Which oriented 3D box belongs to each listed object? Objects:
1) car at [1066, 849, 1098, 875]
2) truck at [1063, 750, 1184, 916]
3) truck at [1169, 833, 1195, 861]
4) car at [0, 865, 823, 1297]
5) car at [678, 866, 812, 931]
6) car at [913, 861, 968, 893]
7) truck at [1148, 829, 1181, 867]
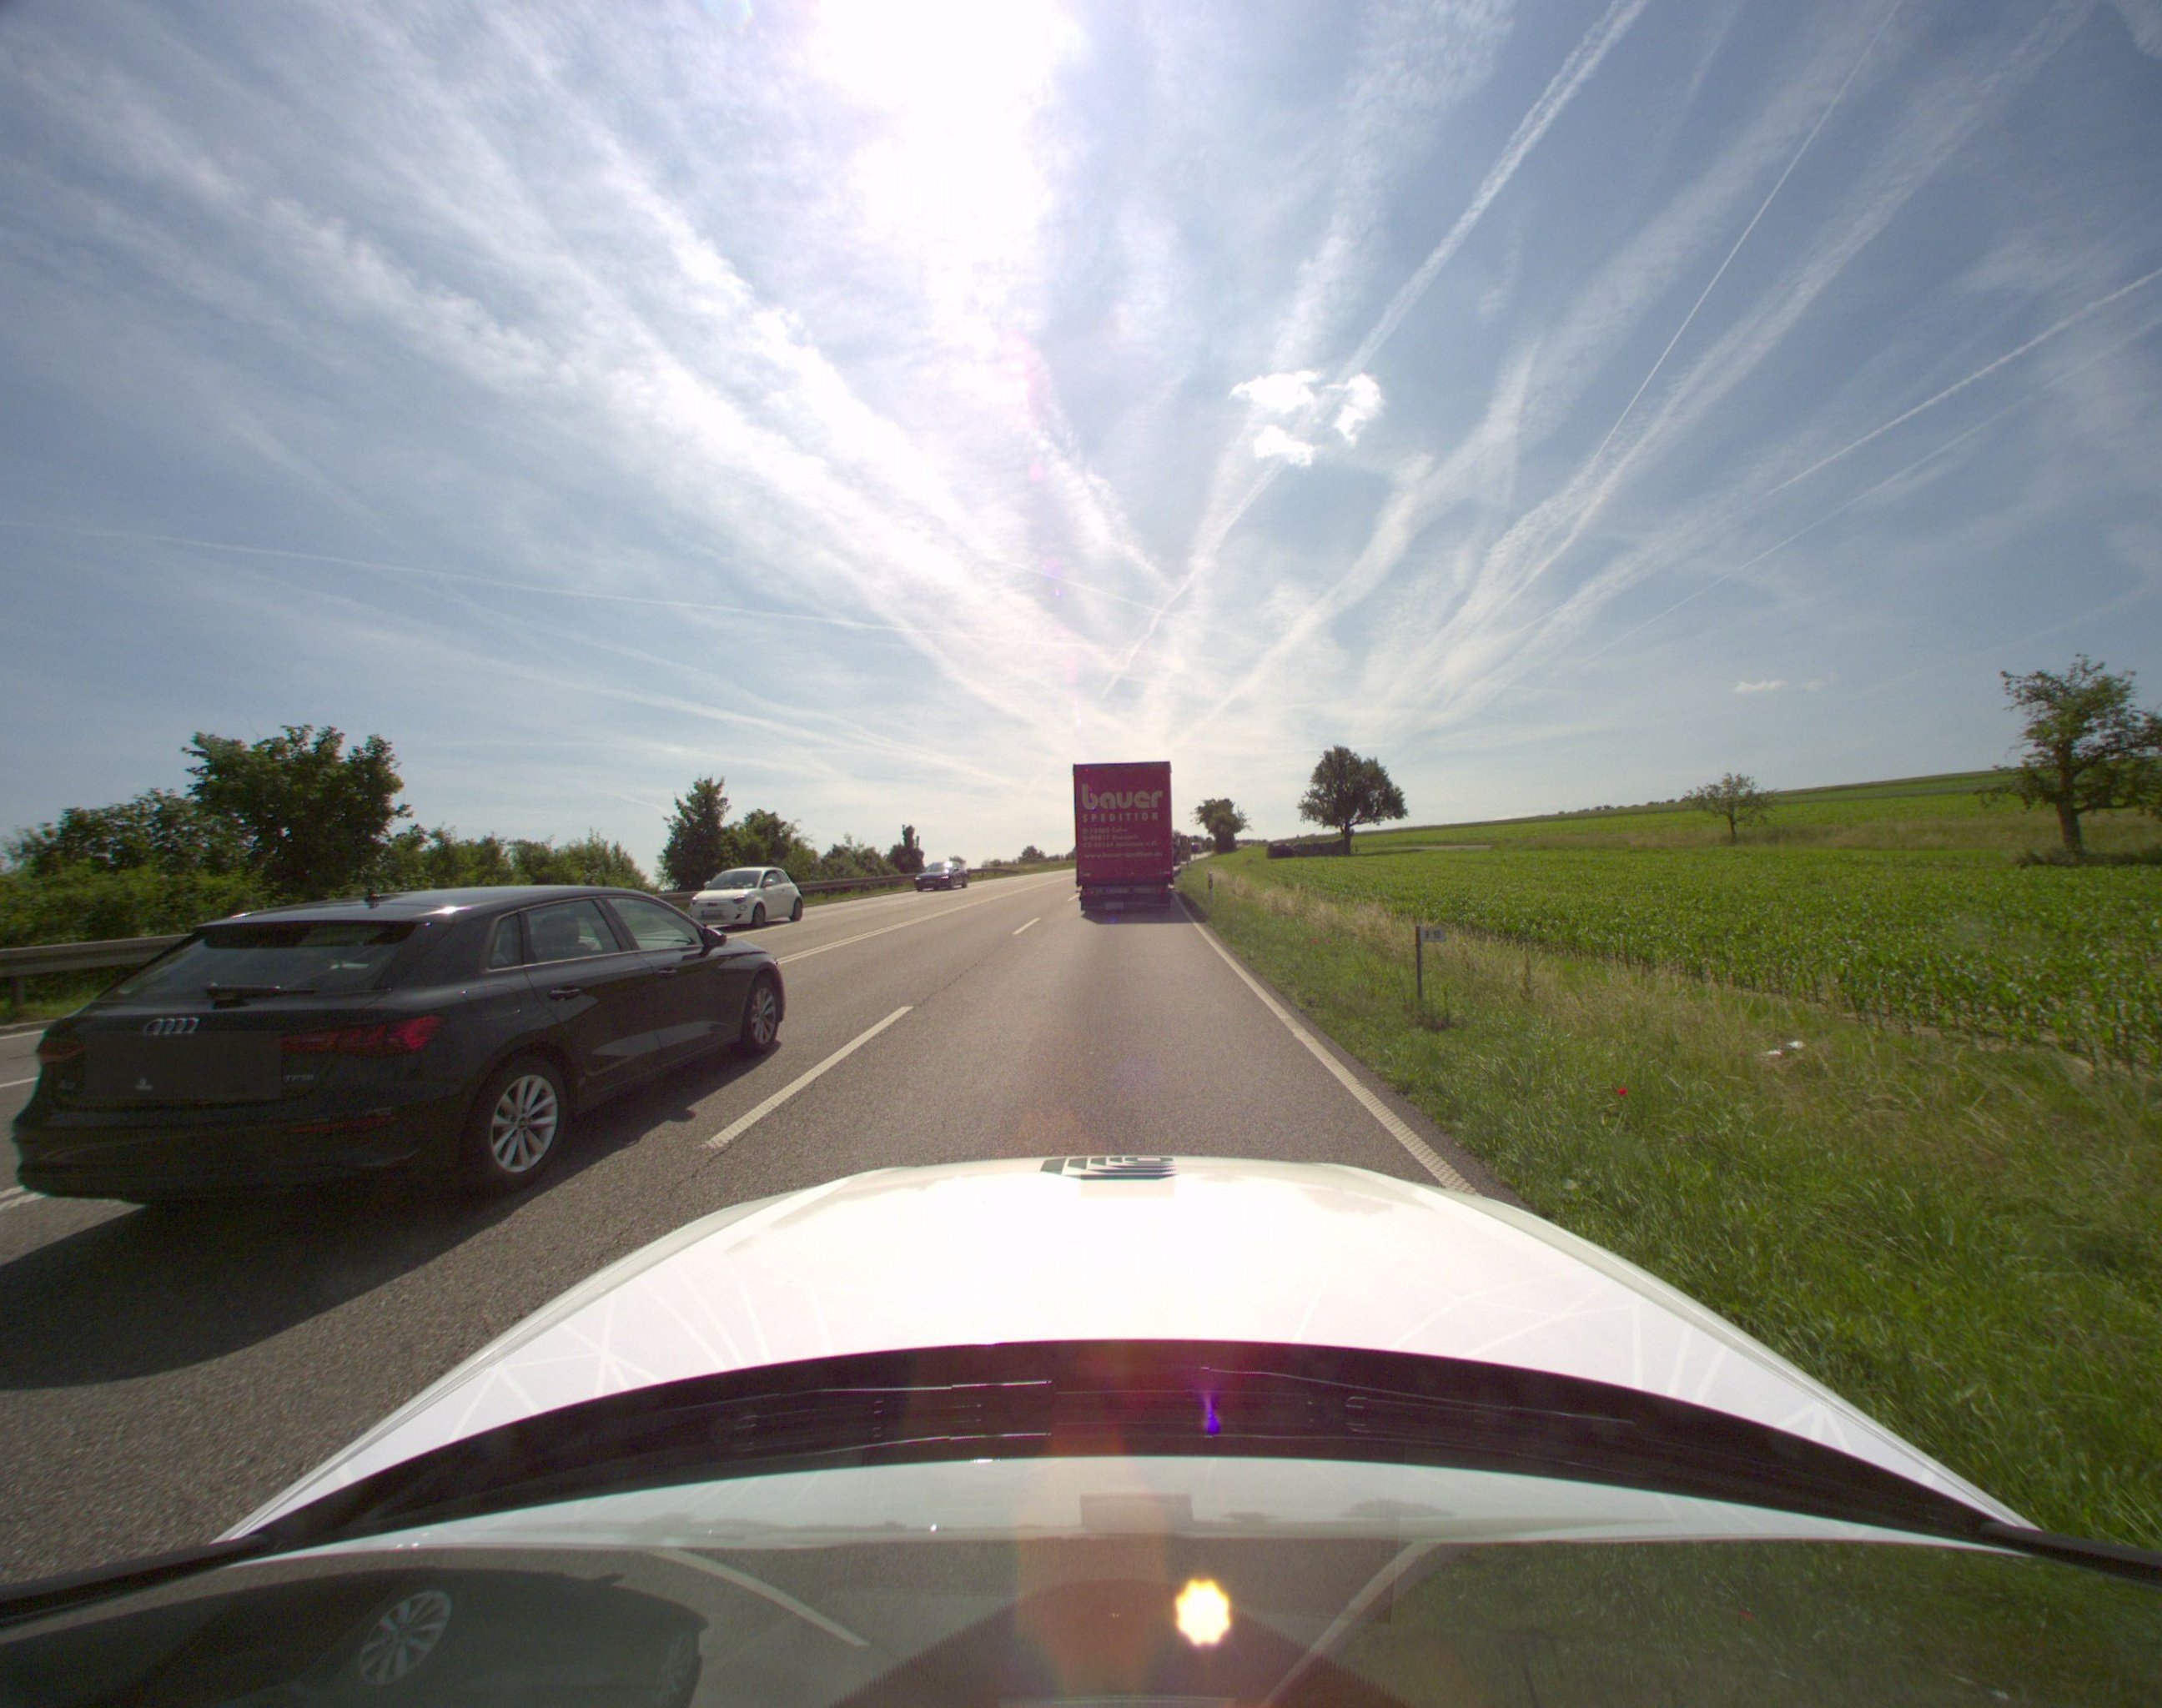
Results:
[{"bbox_3d":[0.137,0.619,63.824,1.896,1.884,5.441,-1,0,6],"label":"car"},{"bbox_3d":[1.582,-0.515,29.092,2.994,4.180,16.729,-1,0,3],"label":"truck"},{"bbox_3d":[16.035,-1.086,128.050,3.028,3.910,18.448,-2,0,10],"label":"truck"},{"bbox_3d":[-3.406,0.862,5.354,1.698,1.472,4.813,-2,0,2],"label":"car"},{"bbox_3d":[-8.621,1.091,21.239,1.650,1.457,3.739,-2,0,5],"label":"car"},{"bbox_3d":[-7.346,1.176,43.013,1.828,1.455,4.329,-3,0,3],"label":"car"},{"bbox_3d":[9.828,-0.646,94.393,3.029,3.910,15.652,-2,0,8],"label":"truck"}]
